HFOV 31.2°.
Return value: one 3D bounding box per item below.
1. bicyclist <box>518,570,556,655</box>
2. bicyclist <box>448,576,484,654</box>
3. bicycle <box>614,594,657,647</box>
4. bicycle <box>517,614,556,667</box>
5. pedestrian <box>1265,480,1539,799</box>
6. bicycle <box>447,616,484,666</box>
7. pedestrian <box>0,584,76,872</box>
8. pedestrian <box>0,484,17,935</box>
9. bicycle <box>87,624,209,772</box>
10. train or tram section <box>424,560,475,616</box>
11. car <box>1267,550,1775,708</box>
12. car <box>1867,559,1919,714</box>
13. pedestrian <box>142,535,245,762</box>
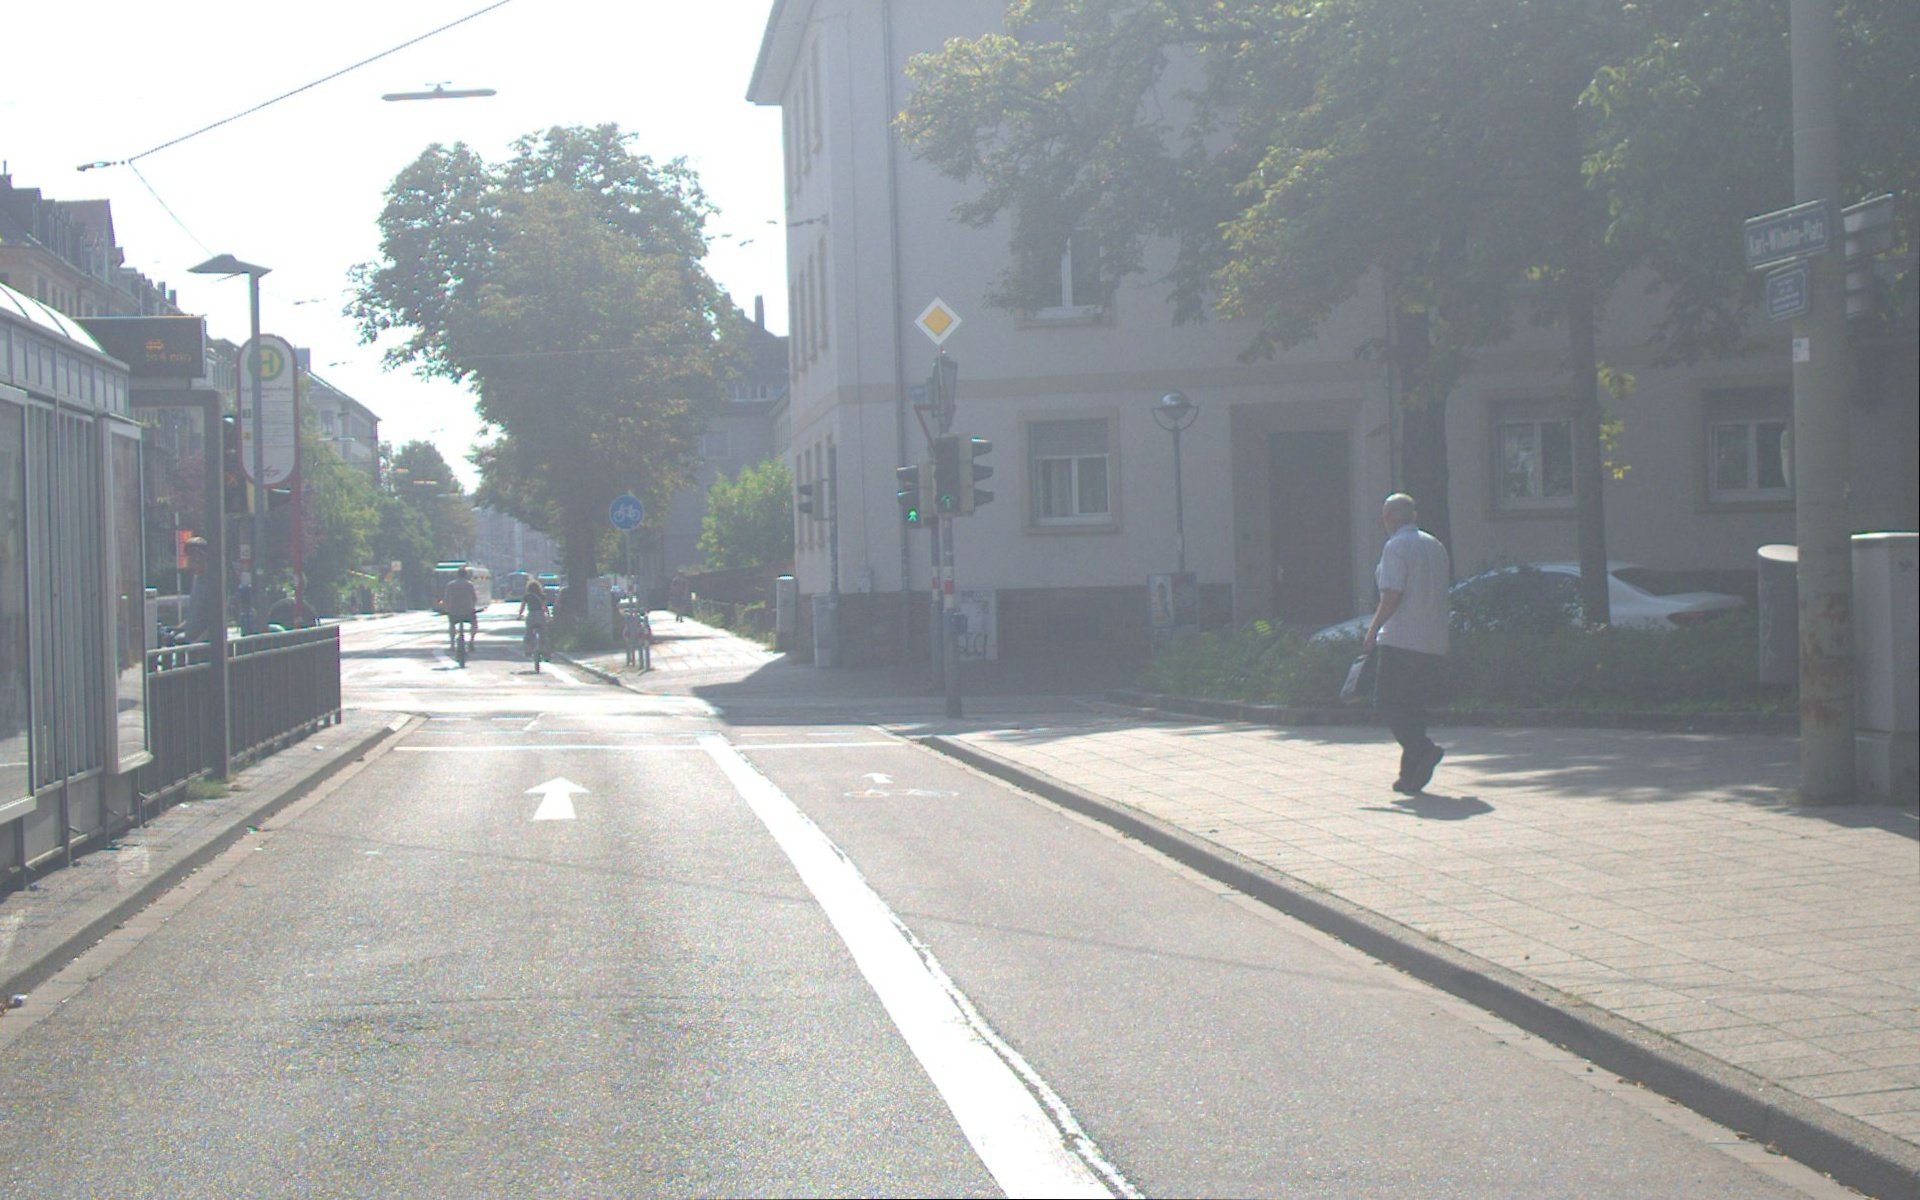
[{"bbox_3d":[-7.413,0.223,60.276,0.654,1.469,0.909,0,0,-7],"label":"bicyclist"},{"bbox_3d":[-9.024,0.274,62.811,0.626,1.396,0.929,0,0,-7],"label":"bicyclist"},{"bbox_3d":[-7.063,0.441,74.687,0.771,1.100,2.334,-2,0,-8],"label":"bicycle"},{"bbox_3d":[-7.426,0.709,60.288,0.654,0.906,1.775,0,0,-7],"label":"bicycle"},{"bbox_3d":[2.549,0.224,19.872,1.077,1.719,0.969,-5,1,-30],"label":"pedestrian"},{"bbox_3d":[-9.030,0.741,62.799,0.626,0.906,1.525,0,0,-7],"label":"bicycle"},{"bbox_3d":[-4.751,0.620,16.814,0.707,1.373,0.623,-1,0,-6],"label":"pedestrian"},{"bbox_3d":[-4.049,0.430,13.358,0.589,1.758,0.607,-1,0,-4],"label":"pedestrian"},{"bbox_3d":[-6.459,0.763,27.415,0.472,1.100,1.737,-1,0,2],"label":"bicycle"},{"bbox_3d":[-33.494,-0.754,225.901,2.734,3.494,15.436,-1,0,-7],"label":"train or tram section"},{"bbox_3d":[5.909,0.323,36.499,4.947,1.464,1.873,-2,3,35],"label":"car"},{"bbox_3d":[10.728,0.318,32.388,1.747,1.446,3.888,-4,2,-40],"label":"car"},{"bbox_3d":[-6.095,0.378,27.355,0.689,1.760,0.796,-1,0,-7],"label":"pedestrian"}]
